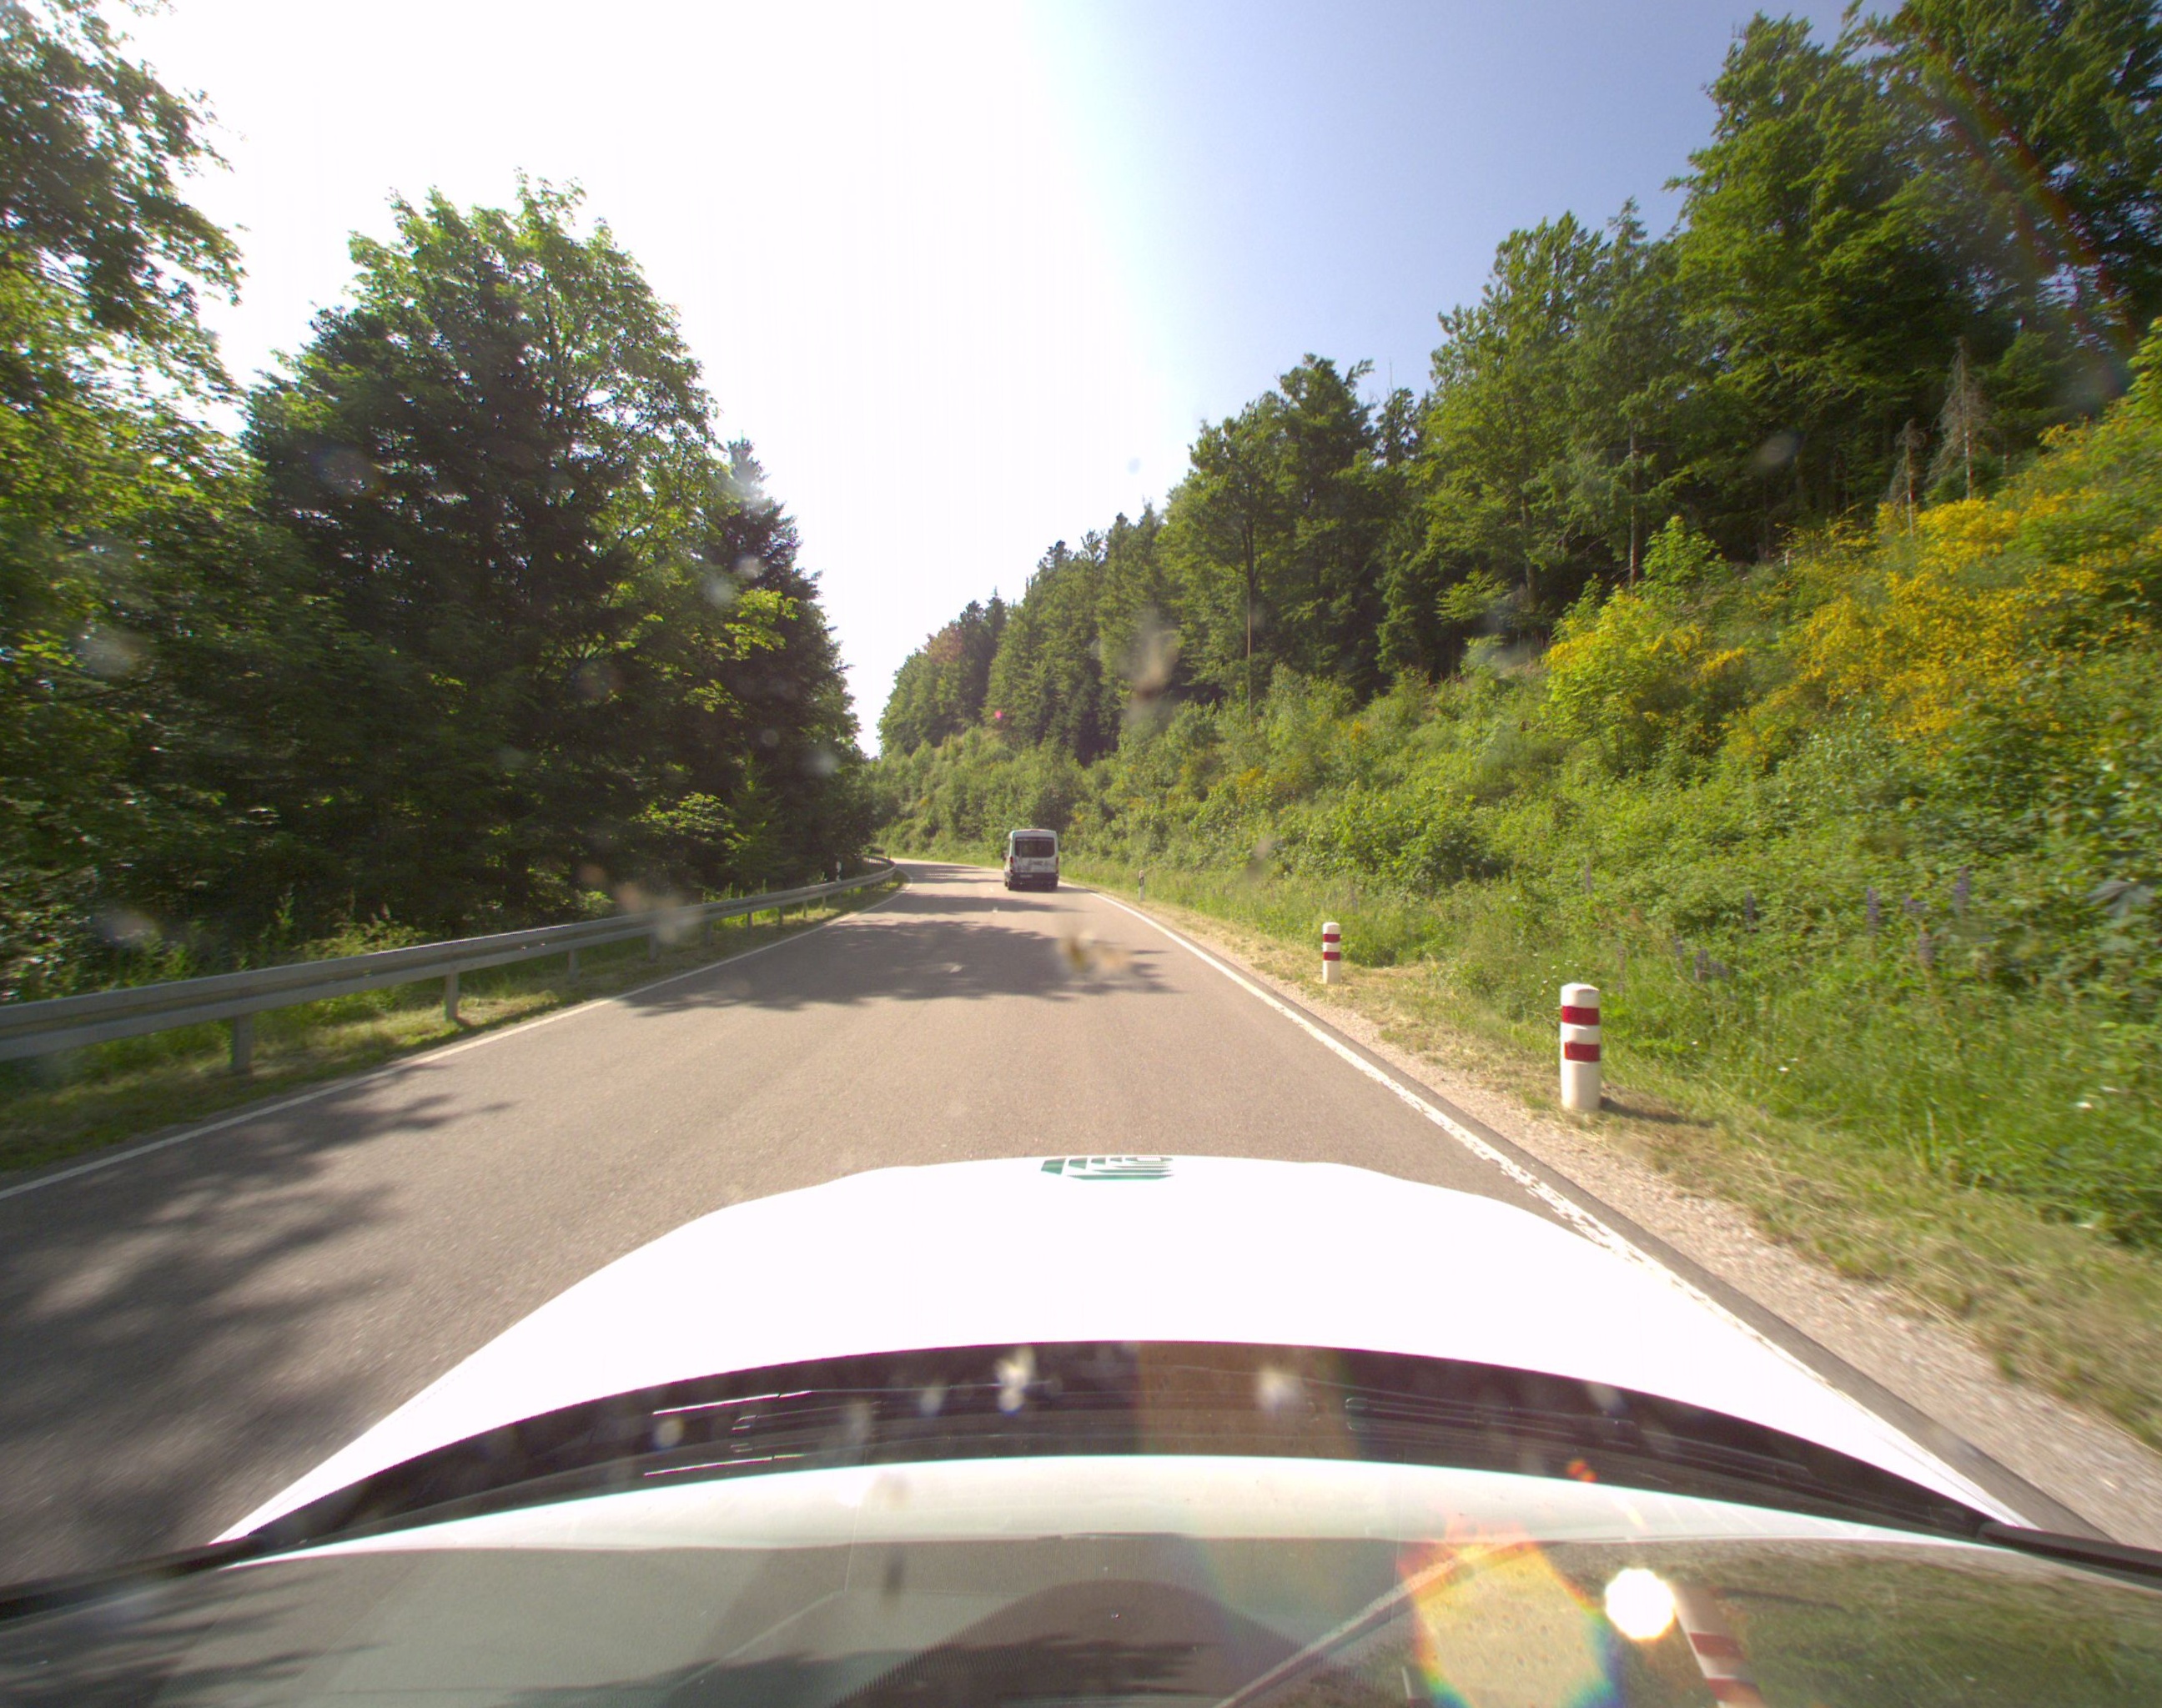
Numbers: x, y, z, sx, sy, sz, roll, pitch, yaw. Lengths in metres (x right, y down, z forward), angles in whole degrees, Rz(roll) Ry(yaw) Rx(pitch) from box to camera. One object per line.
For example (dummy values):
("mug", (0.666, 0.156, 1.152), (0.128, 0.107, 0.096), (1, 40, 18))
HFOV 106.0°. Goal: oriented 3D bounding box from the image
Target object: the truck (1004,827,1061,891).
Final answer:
("truck", (-2.144, 0.184, 34.608), (2.113, 2.498, 5.348), (-1, 0, -6))
